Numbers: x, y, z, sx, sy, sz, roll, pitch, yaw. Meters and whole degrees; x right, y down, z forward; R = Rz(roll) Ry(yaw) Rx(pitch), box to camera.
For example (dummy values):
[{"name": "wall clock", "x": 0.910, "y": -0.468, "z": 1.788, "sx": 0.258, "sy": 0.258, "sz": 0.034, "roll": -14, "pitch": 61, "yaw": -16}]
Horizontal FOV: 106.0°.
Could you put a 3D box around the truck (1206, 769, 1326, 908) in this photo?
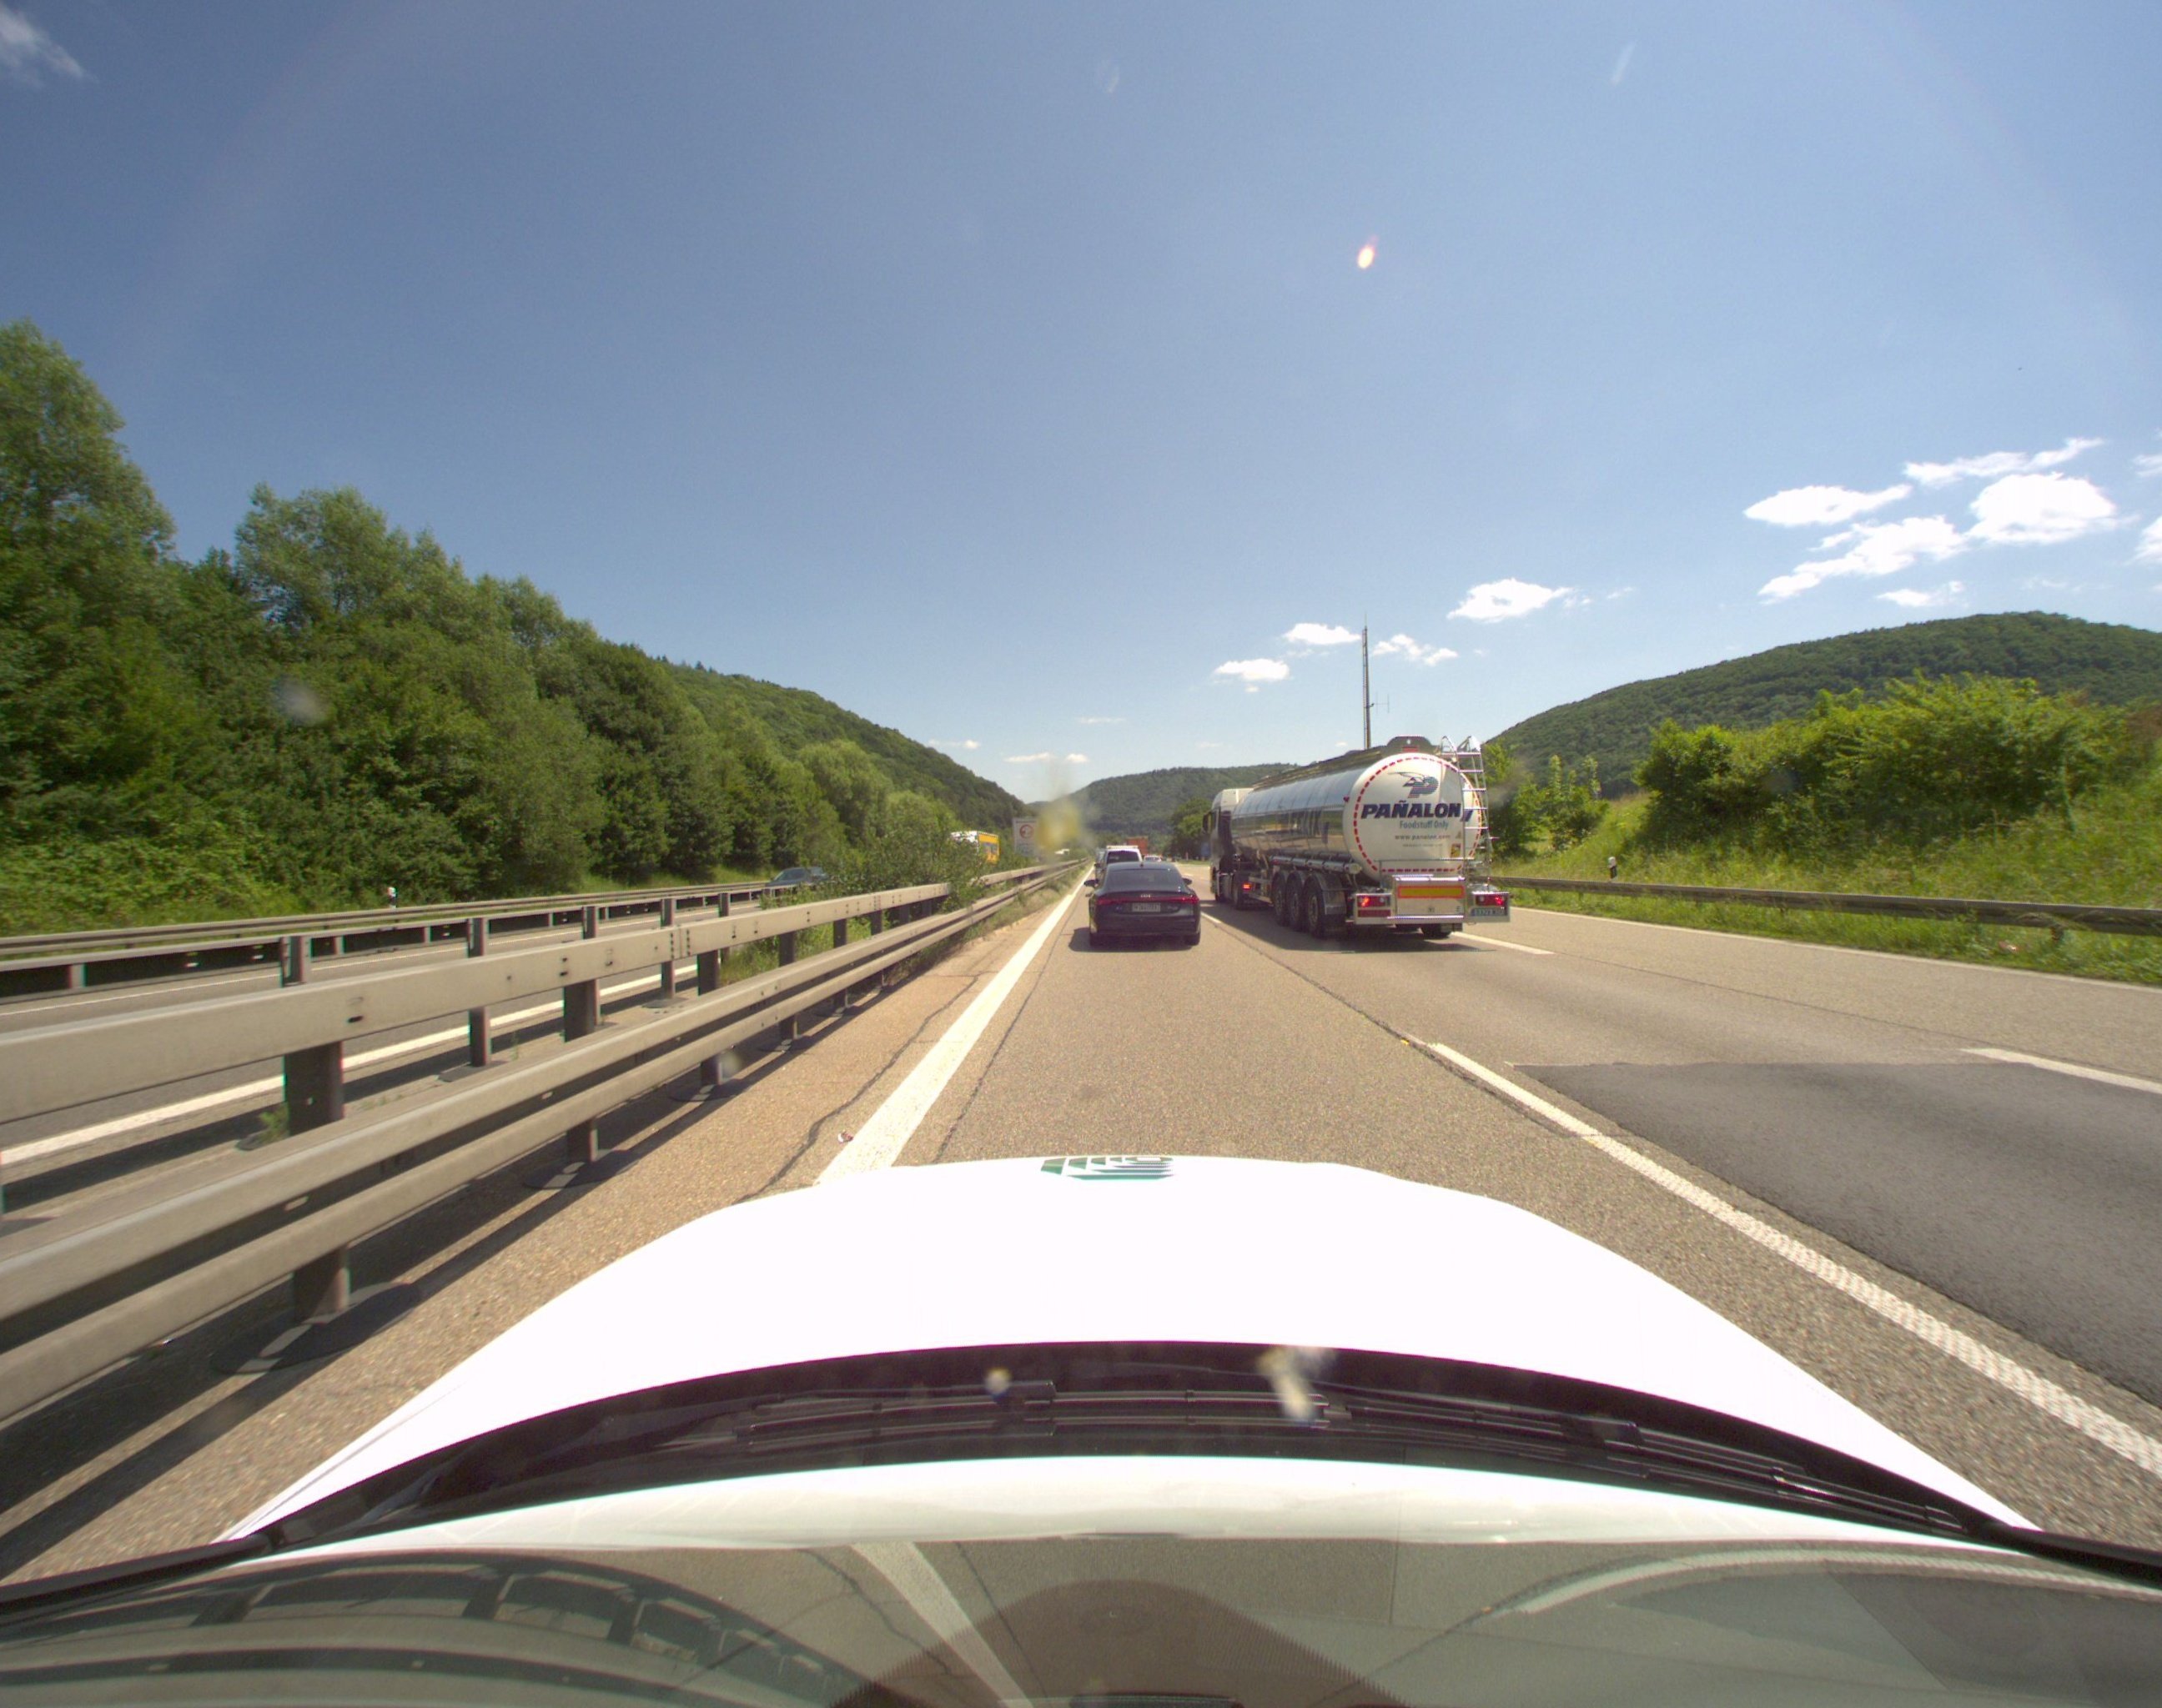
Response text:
[{"name": "truck", "x": 5.439, "y": -0.413, "z": 24.788, "sx": 2.503, "sy": 3.758, "sz": 5.246, "roll": -1, "pitch": 0, "yaw": 1}]

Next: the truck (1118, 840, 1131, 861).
[{"name": "truck", "x": 7.614, "y": -0.550, "z": 144.528, "sx": 1.986, "sy": 3.447, "sz": 11.815, "roll": -1, "pitch": 0, "yaw": 2}]

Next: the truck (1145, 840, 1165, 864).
[{"name": "truck", "x": 13.096, "y": -0.279, "z": 145.003, "sx": 2.806, "sy": 4.003, "sz": 14.963, "roll": -1, "pitch": 0, "yaw": 2}]

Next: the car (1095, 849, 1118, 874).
[{"name": "car", "x": 2.233, "y": 0.648, "z": 71.771, "sx": 1.986, "sy": 2.013, "sz": 4.001, "roll": -2, "pitch": 0, "yaw": 1}]

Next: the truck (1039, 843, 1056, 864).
[{"name": "truck", "x": -6.613, "y": -0.169, "z": 161.773, "sx": 2.718, "sy": 4.001, "sz": 5.371, "roll": -2, "pitch": 0, "yaw": 2}]

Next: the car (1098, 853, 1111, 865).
[{"name": "car", "x": 3.388, "y": 0.690, "z": 115.956, "sx": 1.705, "sy": 1.618, "sz": 4.003, "roll": -2, "pitch": 0, "yaw": 3}]

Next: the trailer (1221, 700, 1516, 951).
[{"name": "trailer", "x": 5.340, "y": -0.411, "z": 18.166, "sx": 2.529, "sy": 3.735, "sz": 11.893, "roll": -1, "pitch": 0, "yaw": 1}]

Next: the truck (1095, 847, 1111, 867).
[{"name": "truck", "x": 4.041, "y": 0.524, "z": 148.129, "sx": 2.618, "sy": 3.440, "sz": 11.426, "roll": -2, "pitch": 0, "yaw": 2}]

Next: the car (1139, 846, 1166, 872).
[{"name": "car", "x": 6.060, "y": 0.416, "z": 68.968, "sx": 1.986, "sy": 2.013, "sz": 4.001, "roll": -2, "pitch": 0, "yaw": 1}]

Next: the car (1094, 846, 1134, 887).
[{"name": "car", "x": 1.686, "y": 0.648, "z": 42.527, "sx": 1.986, "sy": 2.013, "sz": 4.001, "roll": -1, "pitch": 0, "yaw": 1}]

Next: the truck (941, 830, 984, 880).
[{"name": "truck", "x": -10.071, "y": 0.082, "z": 69.663, "sx": 2.538, "sy": 4.090, "sz": 5.853, "roll": -2, "pitch": 0, "yaw": 2}]

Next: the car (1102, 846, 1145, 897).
[{"name": "car", "x": 1.619, "y": 0.650, "z": 31.913, "sx": 1.570, "sy": 1.833, "sz": 4.001, "roll": -1, "pitch": 0, "yaw": 1}]

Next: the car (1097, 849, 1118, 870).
[{"name": "car", "x": 2.620, "y": 0.578, "z": 81.683, "sx": 1.986, "sy": 2.013, "sz": 4.001, "roll": -2, "pitch": 0, "yaw": 1}]

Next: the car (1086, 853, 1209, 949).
[{"name": "car", "x": 1.058, "y": 0.748, "z": 14.903, "sx": 1.844, "sy": 1.488, "sz": 4.081, "roll": -1, "pitch": 0, "yaw": -1}]

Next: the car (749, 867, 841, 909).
[{"name": "car", "x": -11.197, "y": 1.277, "z": 32.238, "sx": 1.862, "sy": 1.420, "sz": 4.435, "roll": -2, "pitch": 0, "yaw": 2}]

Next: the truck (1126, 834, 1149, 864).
[{"name": "truck", "x": 7.837, "y": -0.651, "z": 114.724, "sx": 2.806, "sy": 4.003, "sz": 14.963, "roll": -1, "pitch": 0, "yaw": 2}]

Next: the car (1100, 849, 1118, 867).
[{"name": "car", "x": 2.710, "y": 0.408, "z": 78.034, "sx": 1.705, "sy": 1.618, "sz": 4.003, "roll": -2, "pitch": 0, "yaw": 3}]
